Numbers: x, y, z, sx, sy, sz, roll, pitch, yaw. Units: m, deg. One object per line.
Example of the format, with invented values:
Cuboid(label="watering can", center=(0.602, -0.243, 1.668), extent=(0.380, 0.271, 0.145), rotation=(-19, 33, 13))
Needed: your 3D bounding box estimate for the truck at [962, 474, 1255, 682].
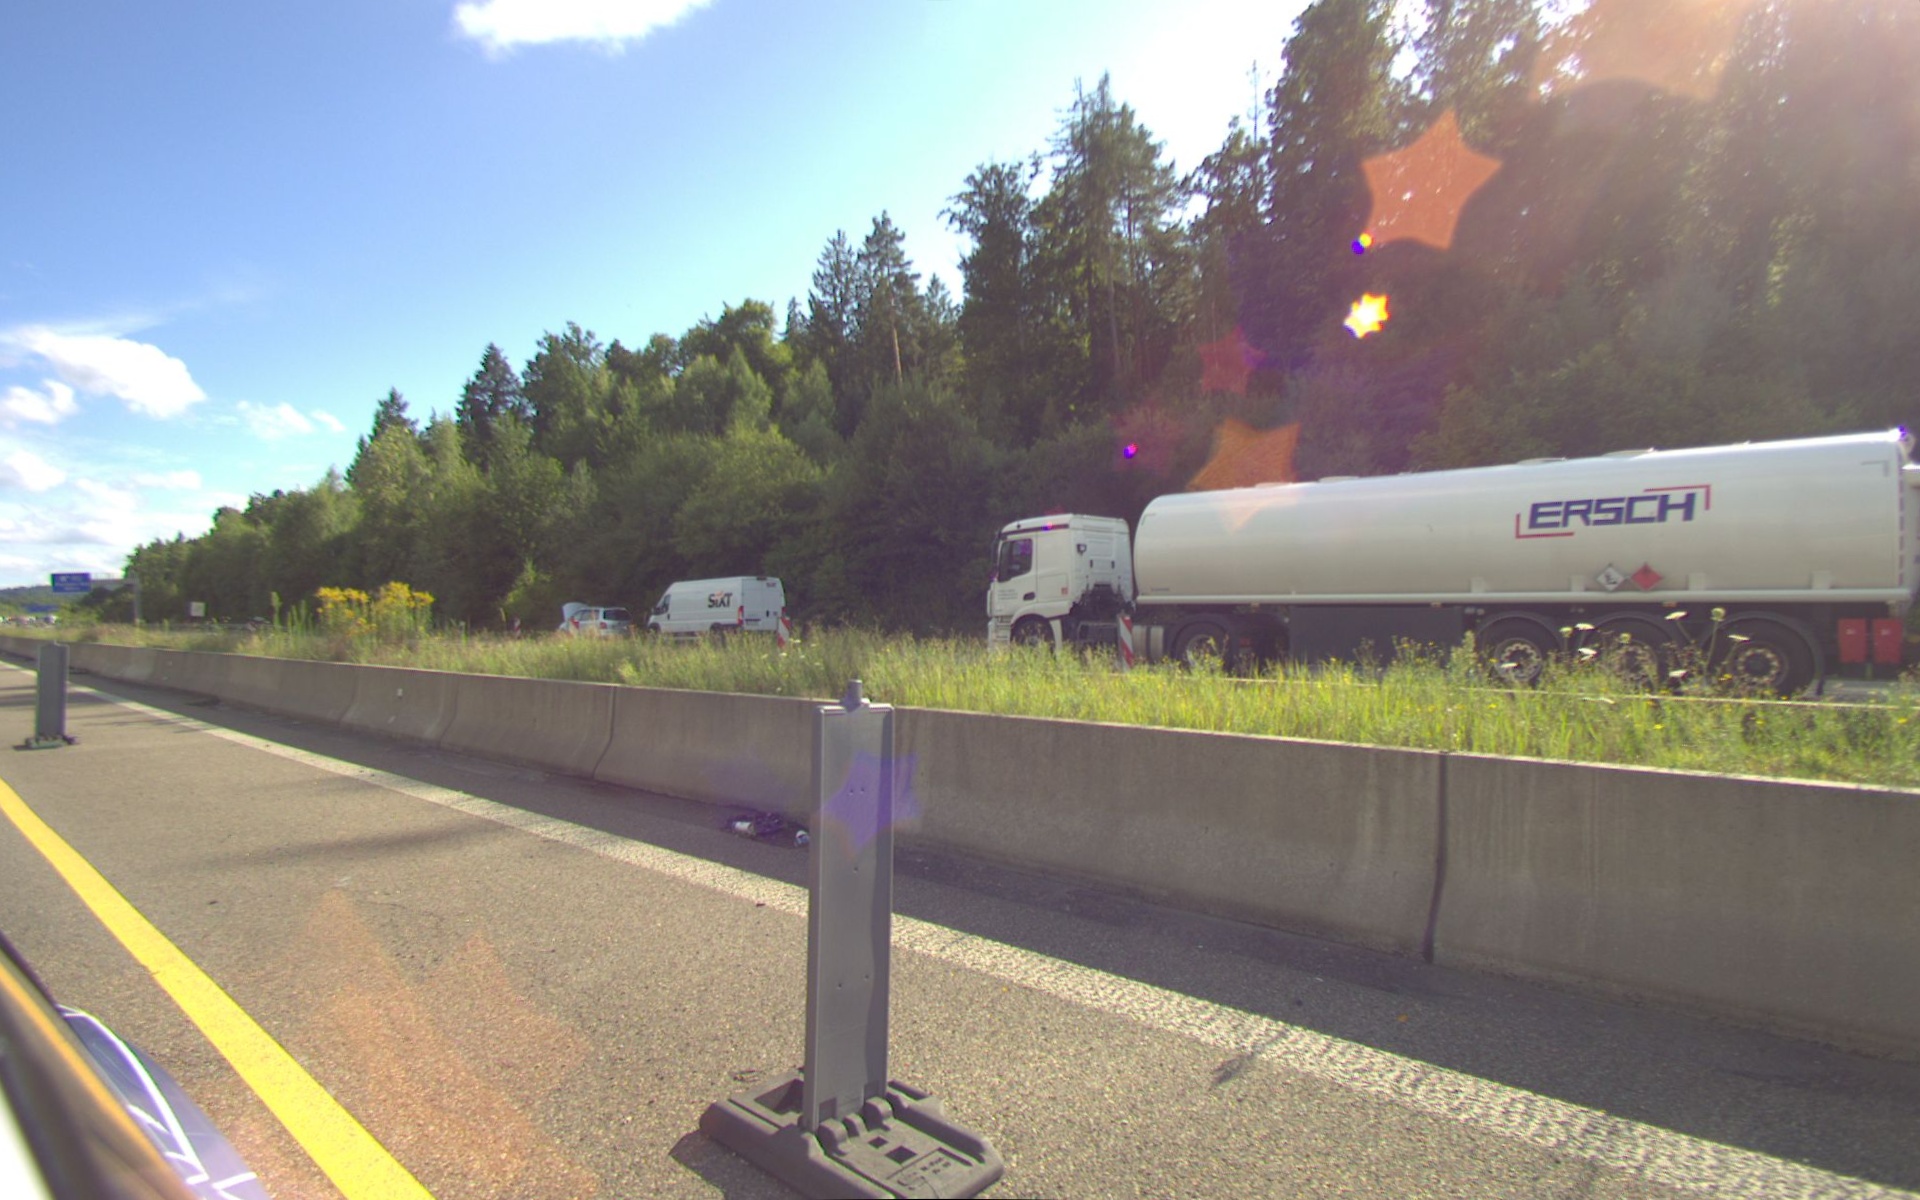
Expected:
Cuboid(label="truck", center=(2.807, -0.355, 19.754), extent=(4.939, 3.516, 2.755), rotation=(-1, 0, 43))

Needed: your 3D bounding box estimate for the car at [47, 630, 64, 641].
Cuboid(label="car", center=(-158.182, 6.155, 177.026), extent=(4.365, 1.799, 1.759), rotation=(-1, 0, 43))

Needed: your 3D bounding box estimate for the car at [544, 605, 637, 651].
Cuboid(label="car", center=(-16.257, 1.198, 44.389), extent=(4.762, 1.867, 1.840), rotation=(-1, 0, 43))

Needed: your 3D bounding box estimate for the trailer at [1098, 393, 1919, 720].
Cuboid(label="trailer", center=(7.507, -0.412, 15.405), extent=(11.111, 3.516, 2.772), rotation=(-1, 0, 43))

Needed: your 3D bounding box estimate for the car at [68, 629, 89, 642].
Cuboid(label="car", center=(-126.793, 5.058, 145.569), extent=(4.365, 1.799, 1.759), rotation=(-1, 0, 43))

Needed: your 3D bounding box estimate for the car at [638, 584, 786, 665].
Cuboid(label="car", center=(-9.180, 0.855, 36.997), extent=(6.522, 2.705, 2.006), rotation=(-1, 0, 43))
